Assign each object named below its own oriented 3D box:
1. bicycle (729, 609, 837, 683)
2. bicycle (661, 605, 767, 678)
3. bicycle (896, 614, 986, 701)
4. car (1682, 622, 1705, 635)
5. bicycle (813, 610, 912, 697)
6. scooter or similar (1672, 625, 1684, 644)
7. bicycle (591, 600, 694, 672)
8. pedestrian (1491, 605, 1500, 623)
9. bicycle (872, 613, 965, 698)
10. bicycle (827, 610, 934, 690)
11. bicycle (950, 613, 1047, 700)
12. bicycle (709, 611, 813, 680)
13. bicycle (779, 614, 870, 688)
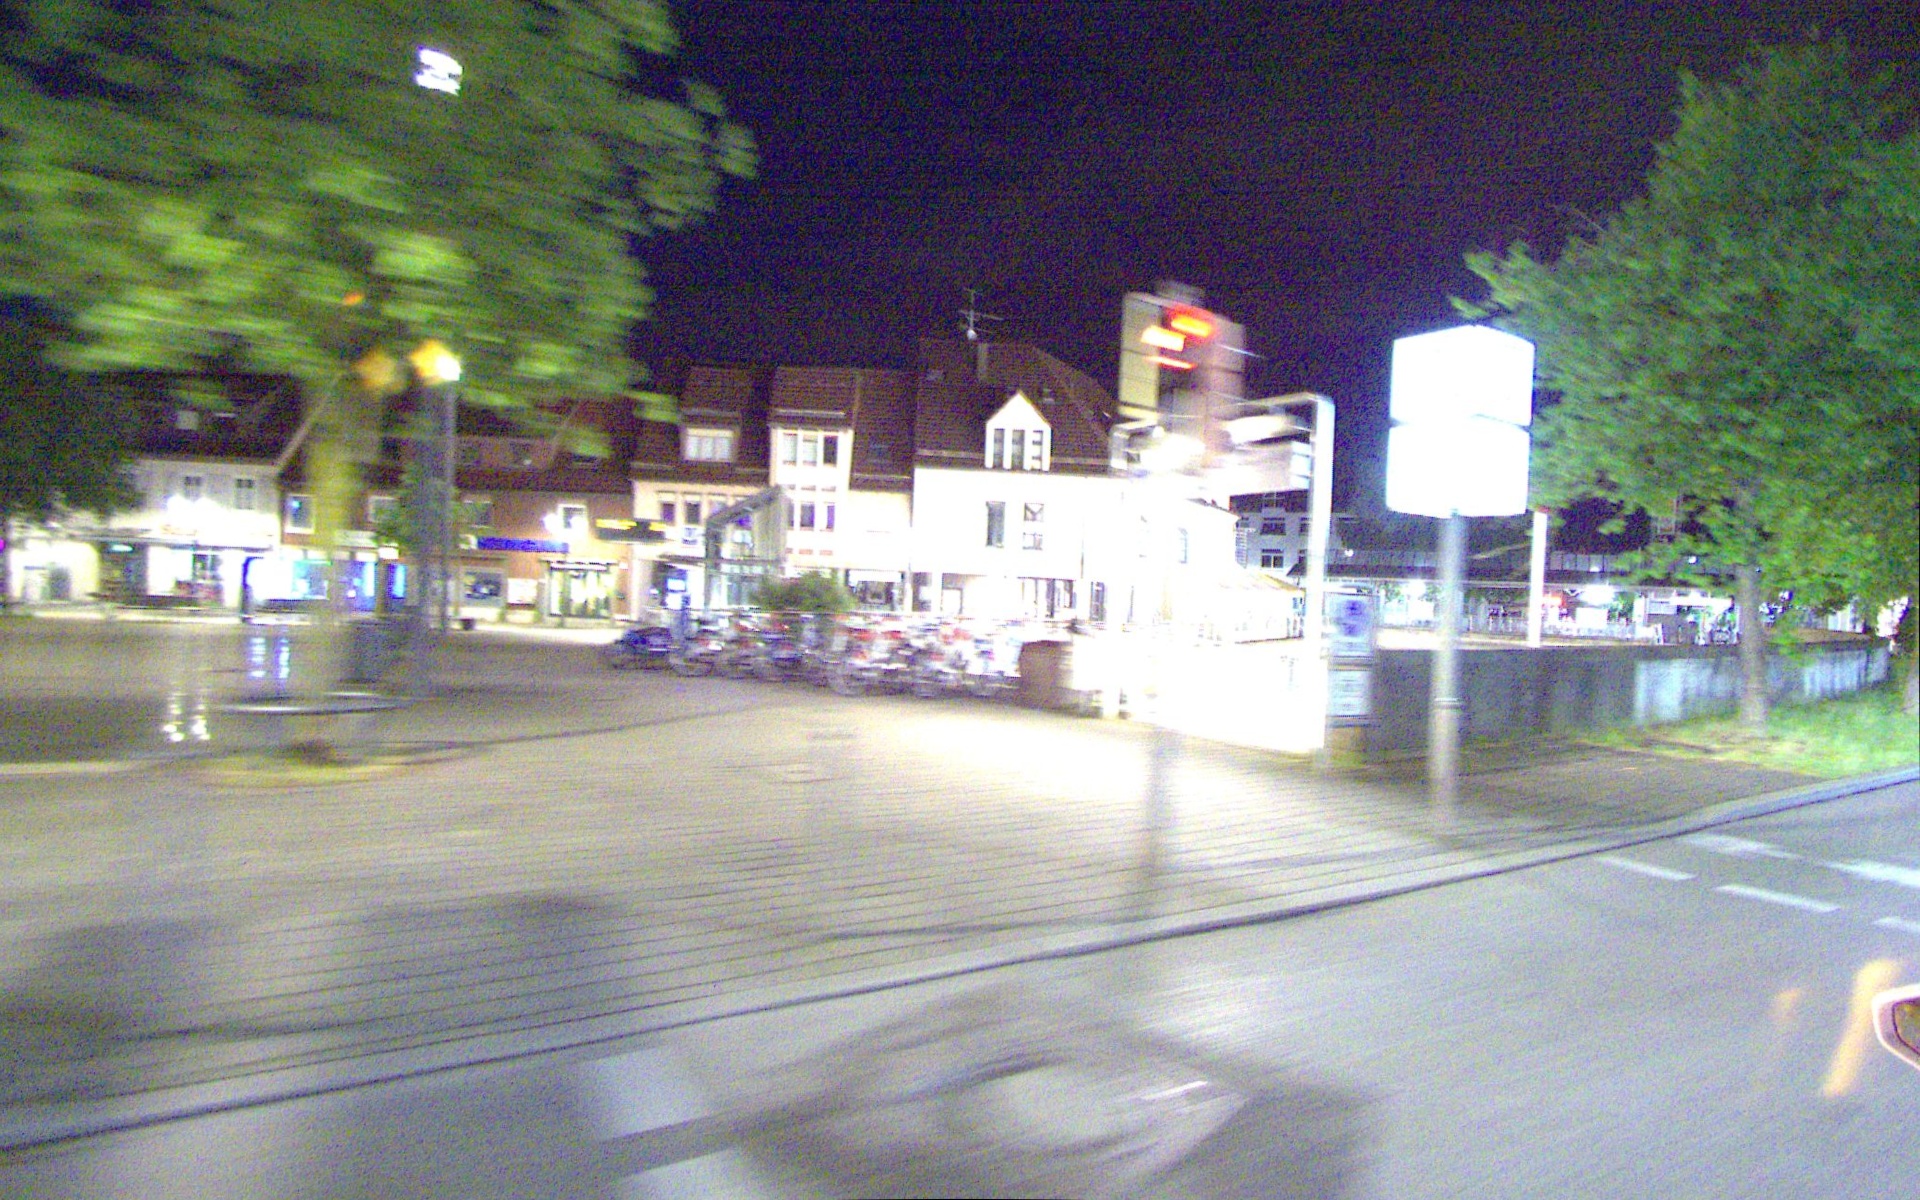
[{"bbox_3d":[-2.868,0.722,16.428,0.600,1.140,1.737,1,0,42],"label":"bicycle"},{"bbox_3d":[-4.211,0.685,17.296,0.600,1.181,1.737,1,0,42],"label":"bicycle"},{"bbox_3d":[-0.254,0.802,14.726,0.535,1.170,1.744,1,0,28],"label":"bicycle"},{"bbox_3d":[93.230,3.654,127.682,1.682,1.568,3.536,1,0,25],"label":"car"},{"bbox_3d":[-1.412,0.753,14.852,0.598,1.181,1.744,1,0,28],"label":"bicycle"},{"bbox_3d":[48.864,2.344,68.366,0.423,1.302,1.146,1,0,26],"label":"scooter or similar"},{"bbox_3d":[-5.780,0.631,18.341,0.600,1.235,1.737,1,0,42],"label":"bicycle"},{"bbox_3d":[45.969,1.198,86.271,0.451,1.566,0.481,0,0,-4],"label":"pedestrian"},{"bbox_3d":[-0.595,0.792,15.108,0.598,1.181,1.744,1,0,28],"label":"bicycle"},{"bbox_3d":[-1.239,0.755,15.905,0.600,1.181,1.737,1,0,43],"label":"bicycle"},{"bbox_3d":[0.599,0.802,14.857,0.747,1.177,1.744,1,0,28],"label":"bicycle"},{"bbox_3d":[-3.394,0.750,17.239,0.600,1.115,1.737,1,0,42],"label":"bicycle"},{"bbox_3d":[-2.129,0.780,16.031,0.597,1.084,1.746,1,0,24],"label":"bicycle"}]
